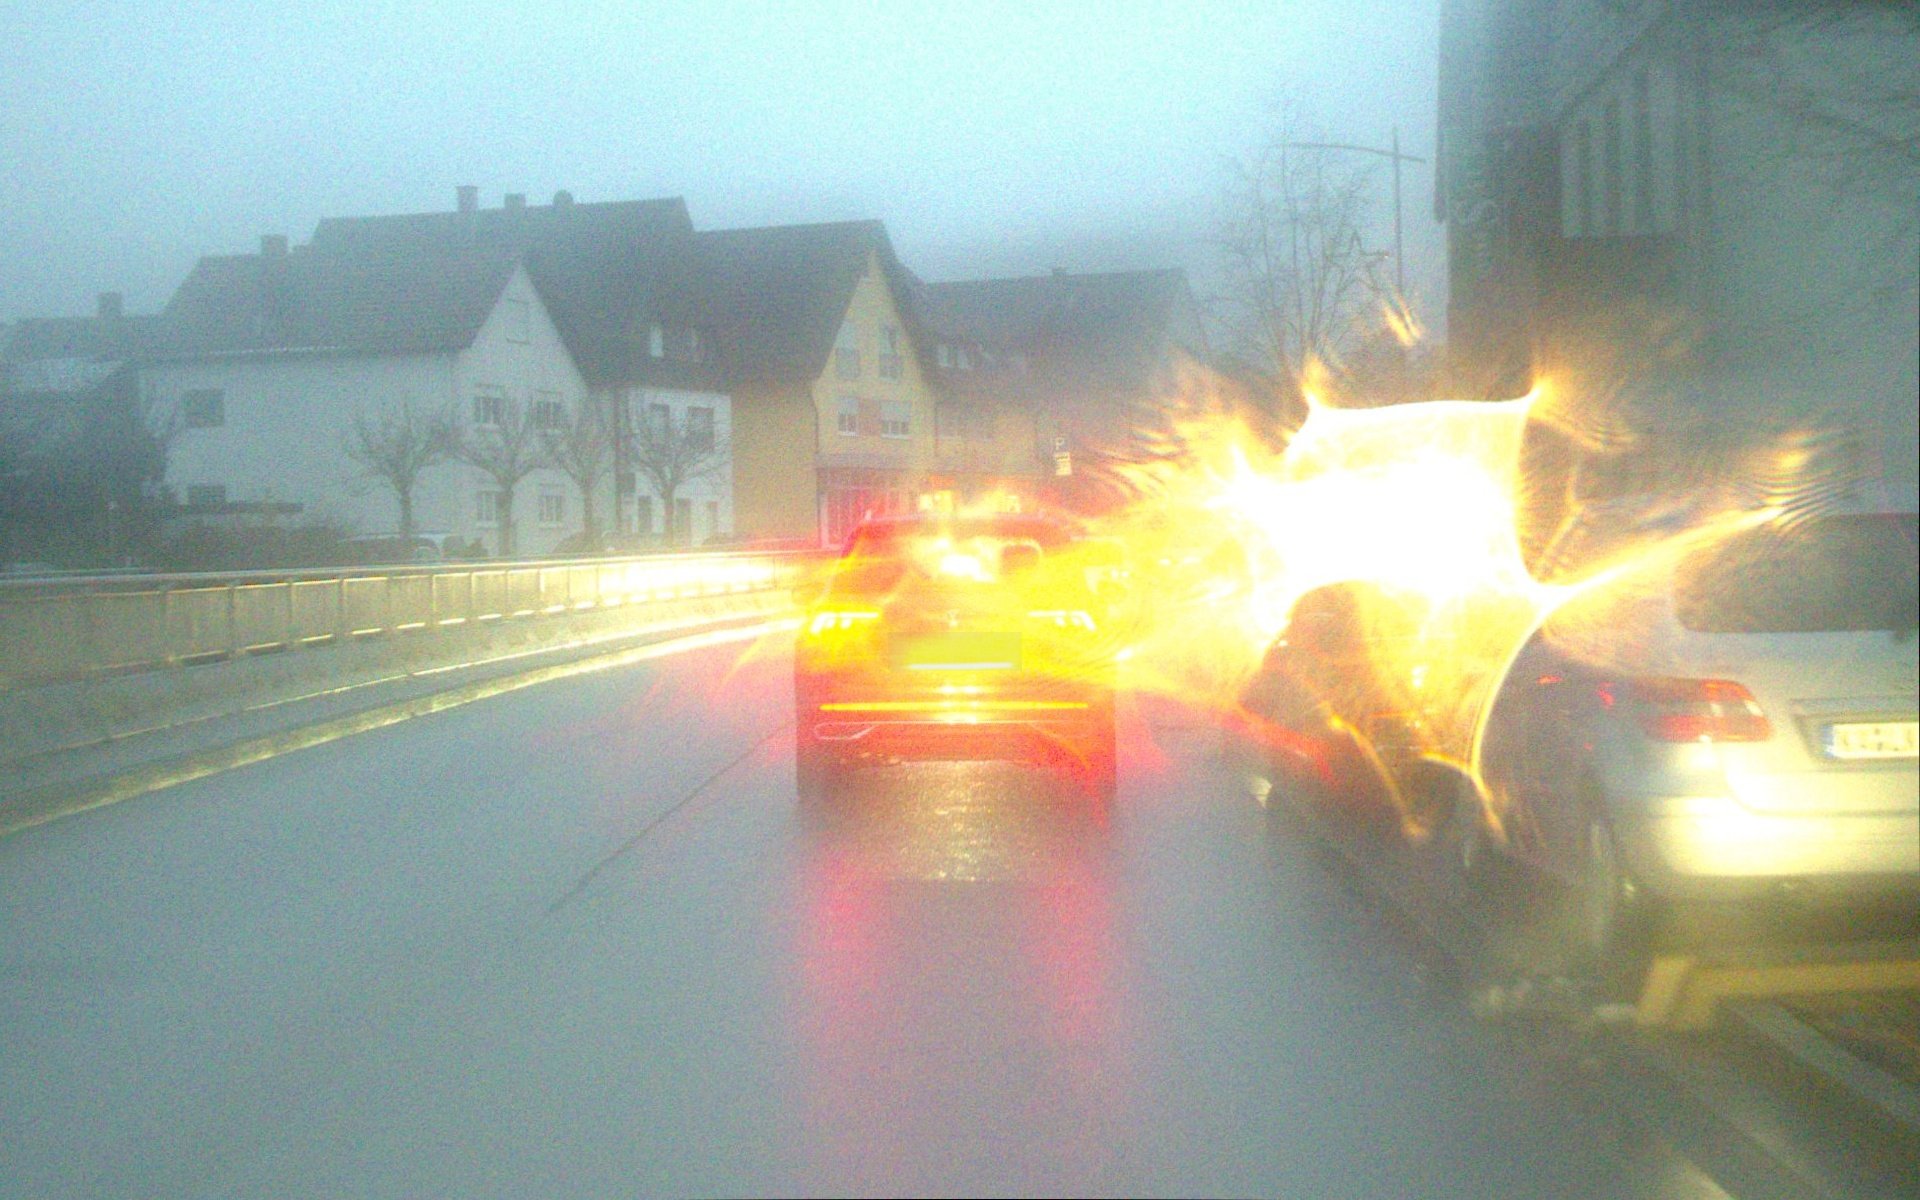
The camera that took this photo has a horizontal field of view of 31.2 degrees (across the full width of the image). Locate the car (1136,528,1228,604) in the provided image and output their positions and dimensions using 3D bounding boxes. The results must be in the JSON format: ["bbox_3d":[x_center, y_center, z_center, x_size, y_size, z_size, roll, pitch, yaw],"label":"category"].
[{"bbox_3d":[4.551,-0.708,70.172,1.814,1.407,4.000,0,2,4],"label":"car"}]

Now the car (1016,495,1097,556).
[{"bbox_3d":[3.192,-2.499,114.960,2.037,1.919,4.058,-2,2,-7],"label":"car"}]

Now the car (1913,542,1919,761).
[{"bbox_3d":[2.809,0.627,4.636,1.702,1.446,4.192,-2,1,-2],"label":"car"}]

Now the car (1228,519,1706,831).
[{"bbox_3d":[2.728,0.317,19.693,1.956,1.527,5.009,1,1,0],"label":"car"}]

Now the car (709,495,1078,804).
[{"bbox_3d":[-0.504,0.198,20.578,1.964,1.589,4.314,-1,2,-4],"label":"car"}]

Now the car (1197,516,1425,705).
[{"bbox_3d":[3.029,0.039,30.375,1.652,1.450,4.238,-4,1,2],"label":"car"}]

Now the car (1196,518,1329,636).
[{"bbox_3d":[4.083,-0.331,46.442,1.645,1.410,2.727,-4,2,5],"label":"car"}]

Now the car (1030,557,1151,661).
[{"bbox_3d":[1.922,0.098,50.047,1.682,1.448,4.000,0,1,3],"label":"car"}]

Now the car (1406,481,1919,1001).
[{"bbox_3d":[2.816,0.380,12.826,1.664,1.570,4.497,-2,1,0],"label":"car"}]
